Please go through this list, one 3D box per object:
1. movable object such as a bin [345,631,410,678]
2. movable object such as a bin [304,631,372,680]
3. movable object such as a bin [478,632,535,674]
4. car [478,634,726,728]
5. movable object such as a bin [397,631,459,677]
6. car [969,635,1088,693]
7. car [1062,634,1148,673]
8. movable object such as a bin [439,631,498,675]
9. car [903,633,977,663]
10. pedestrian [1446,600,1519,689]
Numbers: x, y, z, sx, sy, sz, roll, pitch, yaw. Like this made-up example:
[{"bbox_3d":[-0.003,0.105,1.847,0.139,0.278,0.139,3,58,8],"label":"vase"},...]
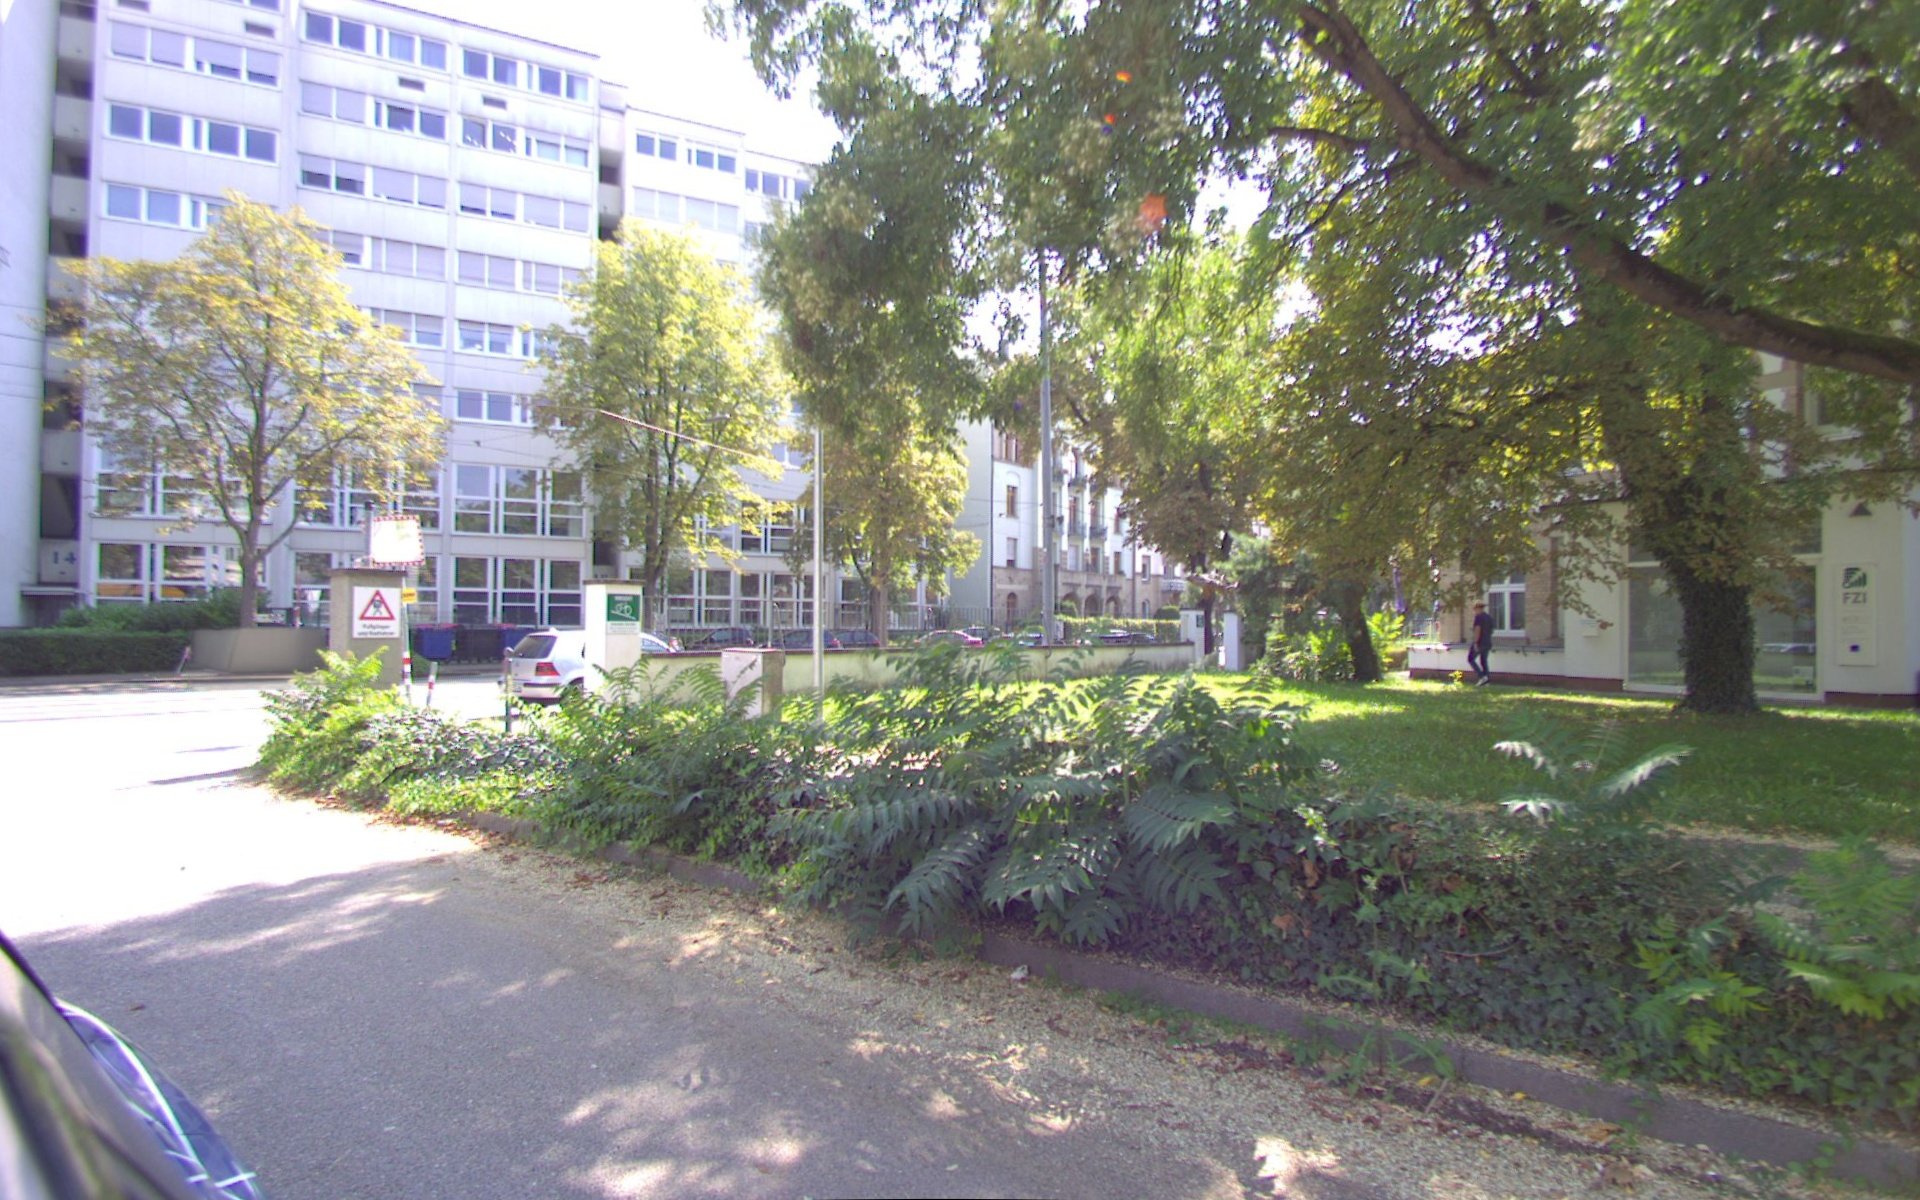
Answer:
[{"bbox_3d":[-20.054,1.864,34.843,1.685,1.571,1.337,-2,-3,36],"label":"movable object such as a bin"},{"bbox_3d":[-20.543,1.810,33.430,1.685,1.571,1.337,-2,-3,36],"label":"movable object such as a bin"},{"bbox_3d":[-17.267,2.006,38.525,1.685,1.571,1.337,-2,-3,36],"label":"movable object such as a bin"},{"bbox_3d":[-6.128,1.339,17.635,1.795,1.457,3.683,-3,-4,39],"label":"car"},{"bbox_3d":[-18.931,1.906,36.028,1.685,1.571,1.337,-2,-3,36],"label":"movable object such as a bin"},{"bbox_3d":[1.994,1.763,28.604,1.643,1.523,3.595,-1,-2,37],"label":"car"},{"bbox_3d":[5.999,2.163,41.623,1.822,1.503,3.968,0,-2,37],"label":"car"},{"bbox_3d":[-18.155,1.950,37.370,1.685,1.571,1.337,-2,-3,36],"label":"movable object such as a bin"},{"bbox_3d":[-1.023,2.386,50.677,3.616,1.463,1.678,1,-2,-4],"label":"car"},{"bbox_3d":[11.069,0.935,21.458,0.723,1.842,1.134,1,-2,-25],"label":"pedestrian"}]
